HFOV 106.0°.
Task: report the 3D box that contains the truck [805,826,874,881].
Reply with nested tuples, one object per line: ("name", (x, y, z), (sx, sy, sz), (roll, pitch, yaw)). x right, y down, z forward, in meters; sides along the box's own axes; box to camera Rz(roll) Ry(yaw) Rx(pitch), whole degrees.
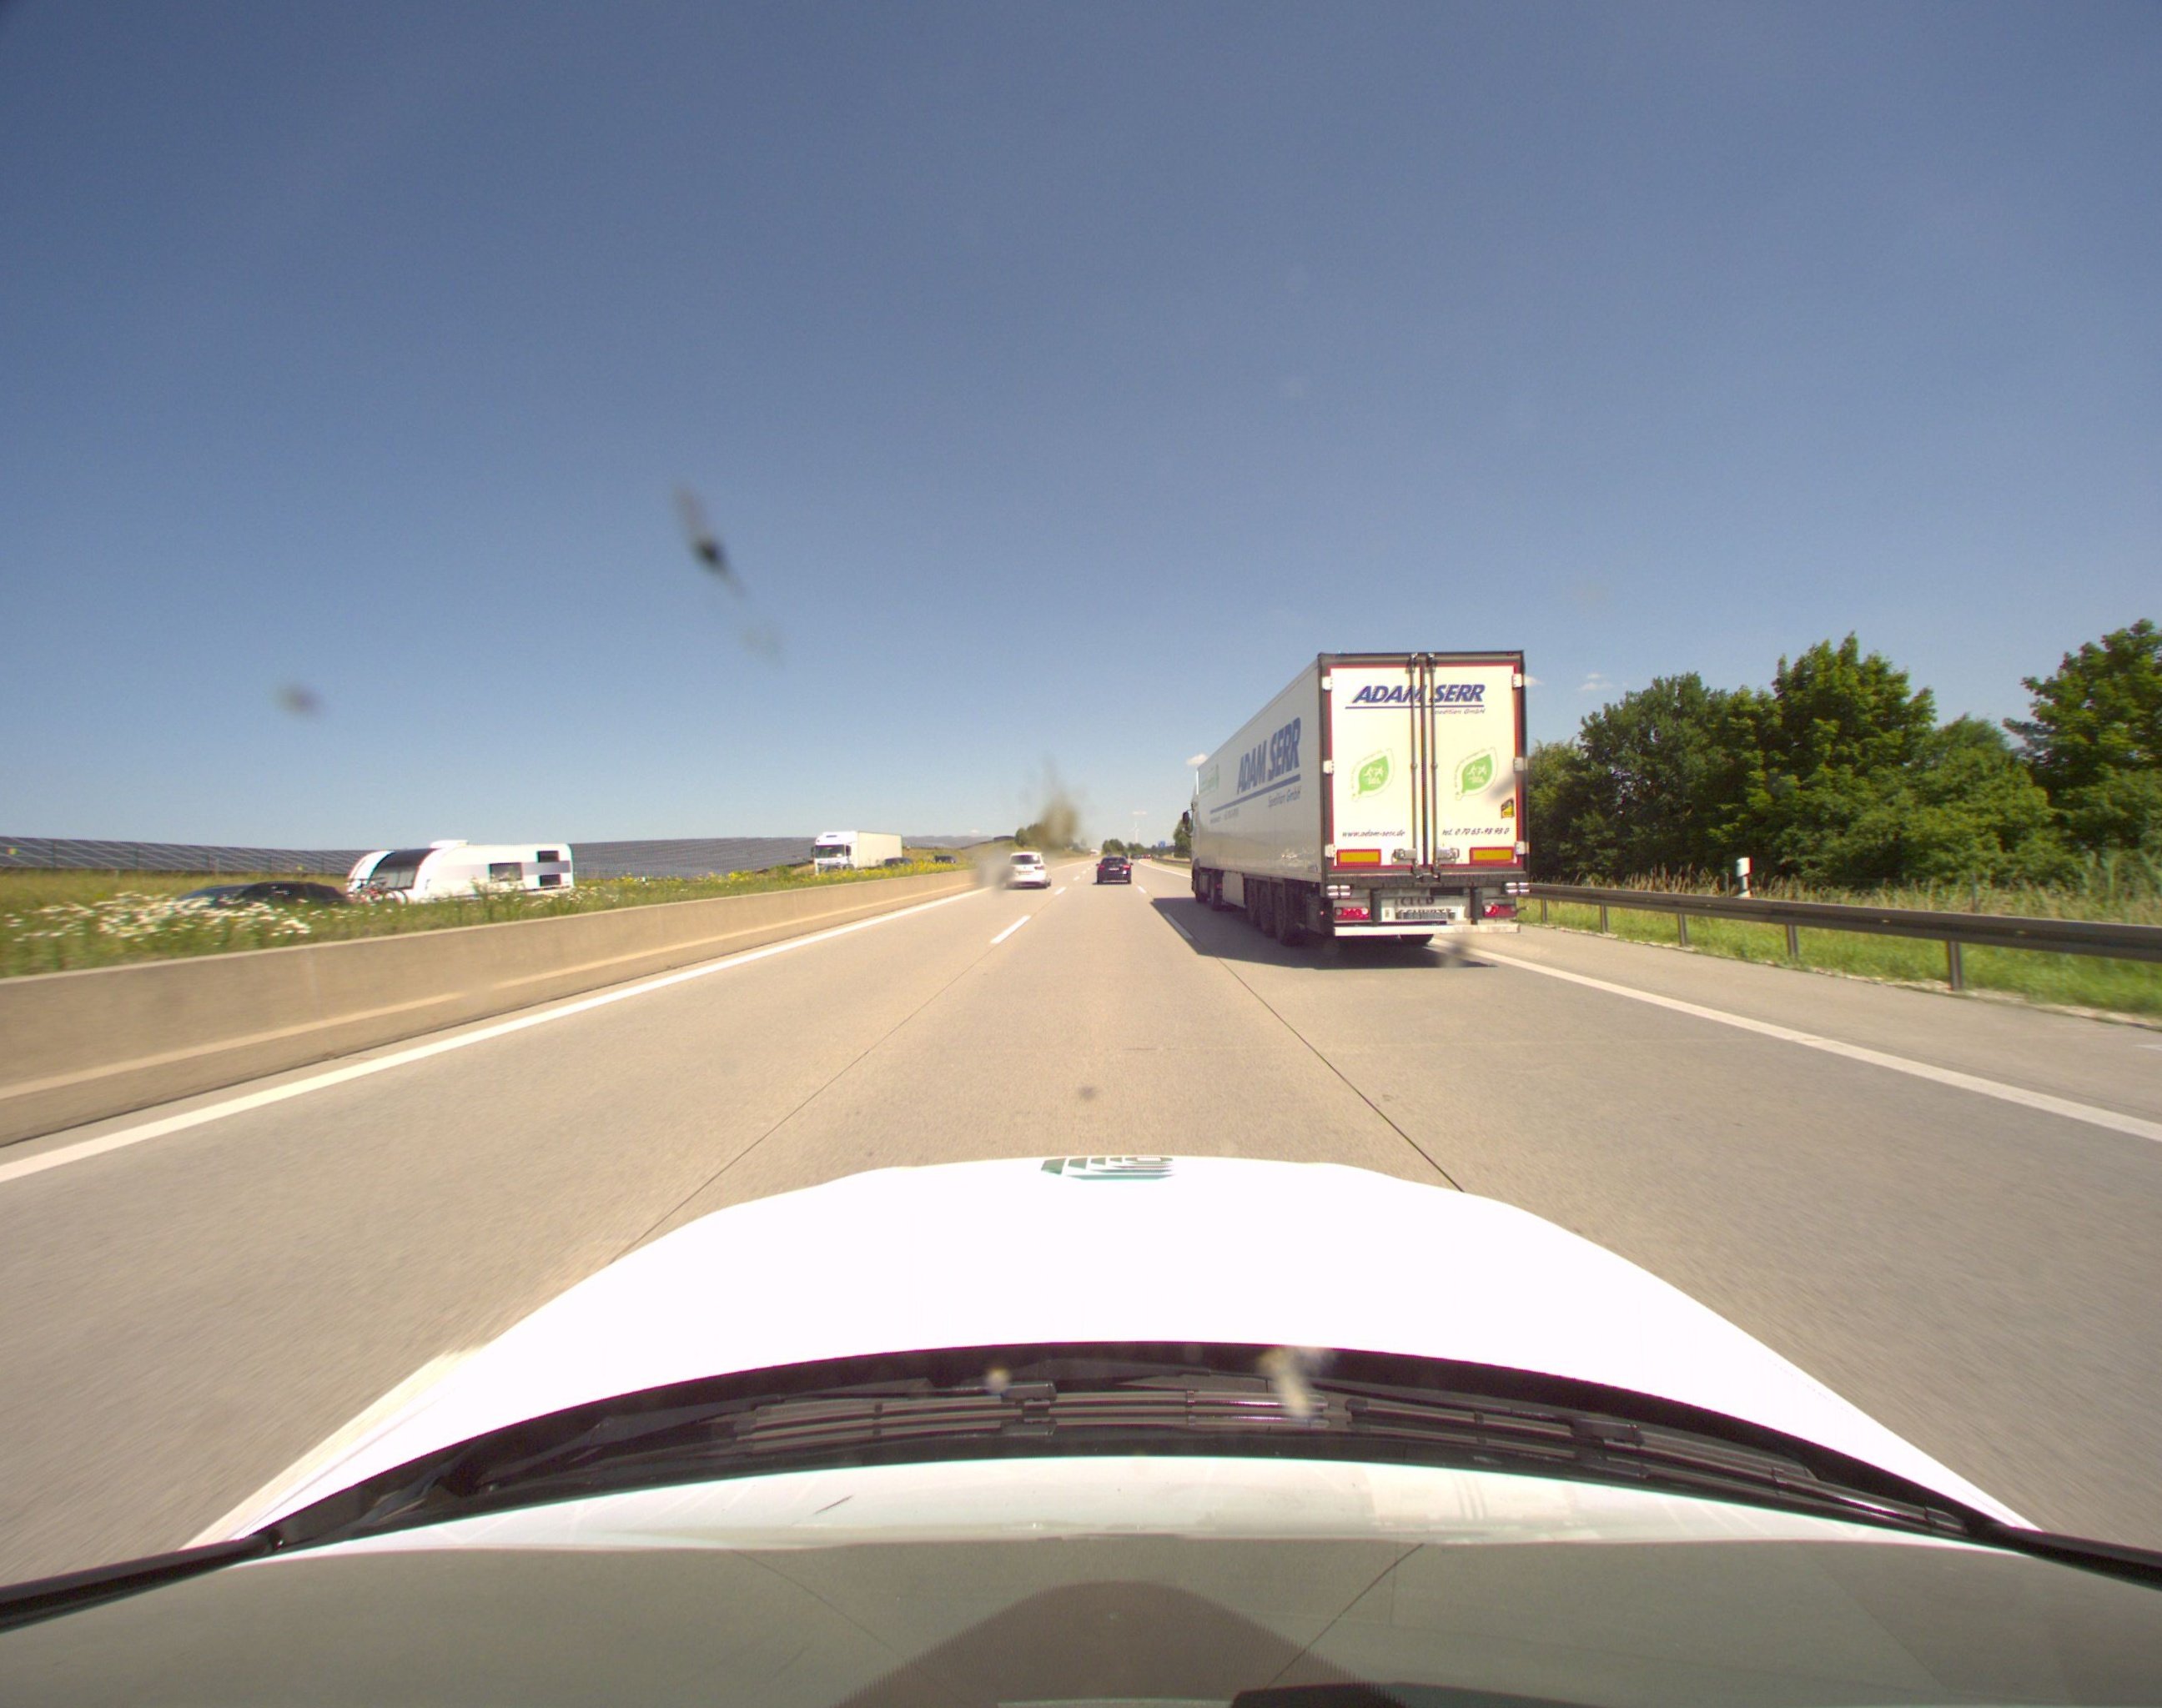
("truck", (-18.844, -0.015, 64.080), (3.079, 4.004, 7.257), (0, -1, 2))

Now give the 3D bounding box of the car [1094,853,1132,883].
("car", (1.629, 0.686, 42.601), (1.904, 1.492, 4.192), (0, 0, 1))

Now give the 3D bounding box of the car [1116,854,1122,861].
("car", (11.108, 0.911, 236.416), (1.819, 1.937, 3.812), (-1, 0, 3))

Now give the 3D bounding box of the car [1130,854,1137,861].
("car", (13.733, 0.957, 213.885), (1.819, 1.907, 4.004), (-1, 0, 4))

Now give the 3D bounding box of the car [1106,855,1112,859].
("car", (8.082, 0.896, 237.186), (1.649, 1.196, 3.962), (2, 0, 2))

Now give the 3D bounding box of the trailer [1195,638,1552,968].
("trailer", (4.489, -0.623, 16.395), (2.842, 4.042, 12.716), (-1, 0, 1))

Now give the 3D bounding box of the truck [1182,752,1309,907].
("truck", (4.744, -0.649, 24.600), (2.801, 4.088, 5.801), (-1, 0, 2))

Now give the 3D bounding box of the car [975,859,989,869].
("car", (-15.498, 1.577, 127.547), (1.643, 1.552, 3.970), (0, 0, 2))

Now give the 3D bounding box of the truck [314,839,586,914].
("truck", (-19.433, 0.632, 25.898), (2.507, 2.014, 7.633), (0, 0, 2))

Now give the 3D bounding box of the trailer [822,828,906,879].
("trailer", (-18.599, 0.027, 71.225), (3.079, 4.004, 14.146), (0, 0, 2))

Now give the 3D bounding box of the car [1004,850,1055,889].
("car", (-2.395, 0.697, 39.150), (1.838, 1.708, 6.038), (0, 0, 2))
